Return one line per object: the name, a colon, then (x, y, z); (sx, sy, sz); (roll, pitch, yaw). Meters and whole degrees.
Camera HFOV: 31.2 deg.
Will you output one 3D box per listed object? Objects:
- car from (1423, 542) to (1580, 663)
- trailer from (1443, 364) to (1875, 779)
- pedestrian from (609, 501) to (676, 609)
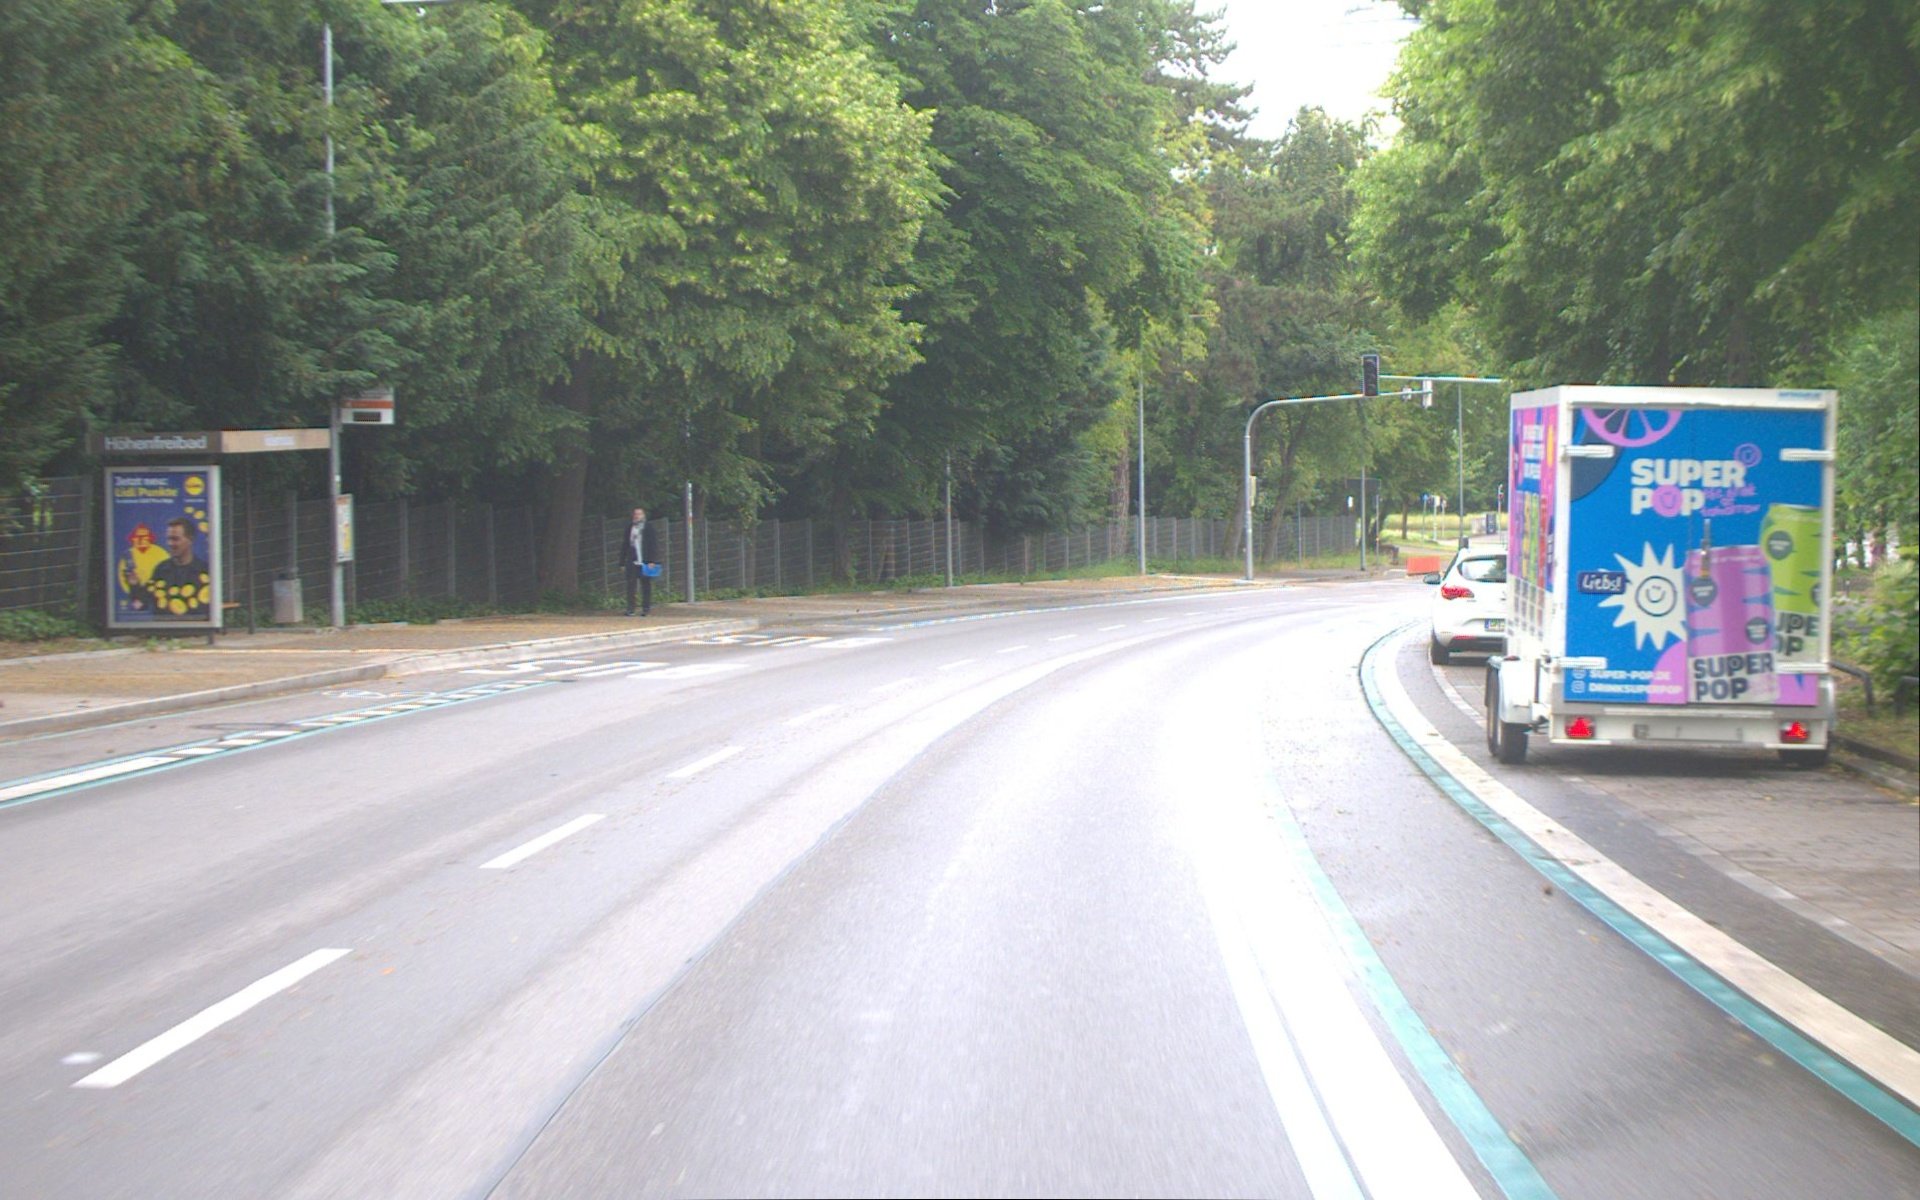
car: (6.969, 0.001, 44.378); (1.860, 1.423, 4.648); (2, 1, 9)
trailer: (4.918, -0.241, 25.056); (2.316, 2.663, 5.376); (1, 1, 4)
pedestrian: (-5.158, -0.733, 55.912); (0.887, 1.727, 1.146); (1, 1, 4)
